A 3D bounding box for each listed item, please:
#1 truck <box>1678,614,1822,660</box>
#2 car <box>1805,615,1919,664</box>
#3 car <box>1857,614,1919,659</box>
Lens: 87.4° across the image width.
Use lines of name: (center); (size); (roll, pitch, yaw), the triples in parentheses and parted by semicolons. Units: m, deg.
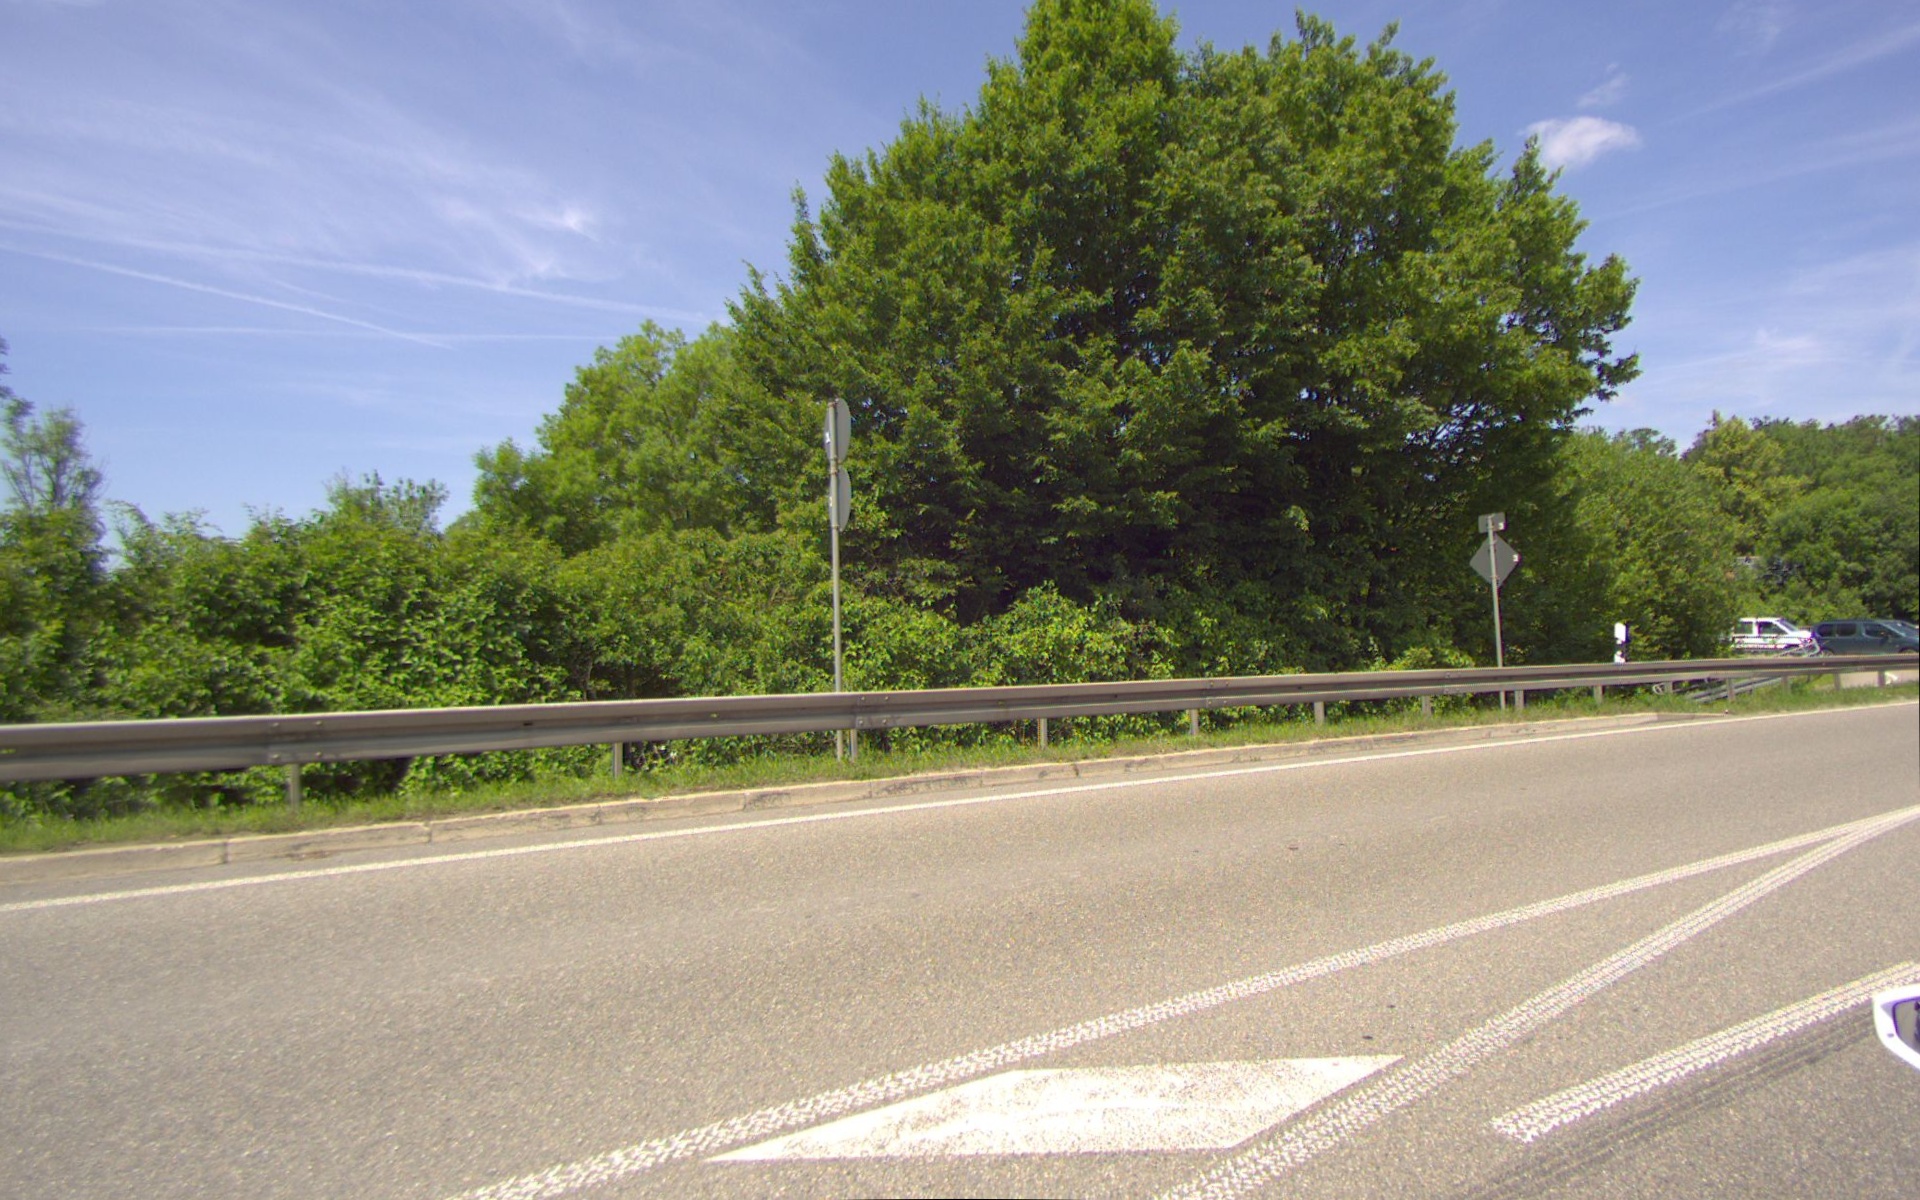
truck: (35.974, 1.654, 45.865); (2.026, 1.815, 4.837); (3, -1, -39)
car: (35.827, 1.494, 39.013); (1.968, 1.793, 4.232); (1, -1, -17)
car: (39.510, 1.490, 40.766); (1.968, 1.793, 4.232); (1, -1, -17)
